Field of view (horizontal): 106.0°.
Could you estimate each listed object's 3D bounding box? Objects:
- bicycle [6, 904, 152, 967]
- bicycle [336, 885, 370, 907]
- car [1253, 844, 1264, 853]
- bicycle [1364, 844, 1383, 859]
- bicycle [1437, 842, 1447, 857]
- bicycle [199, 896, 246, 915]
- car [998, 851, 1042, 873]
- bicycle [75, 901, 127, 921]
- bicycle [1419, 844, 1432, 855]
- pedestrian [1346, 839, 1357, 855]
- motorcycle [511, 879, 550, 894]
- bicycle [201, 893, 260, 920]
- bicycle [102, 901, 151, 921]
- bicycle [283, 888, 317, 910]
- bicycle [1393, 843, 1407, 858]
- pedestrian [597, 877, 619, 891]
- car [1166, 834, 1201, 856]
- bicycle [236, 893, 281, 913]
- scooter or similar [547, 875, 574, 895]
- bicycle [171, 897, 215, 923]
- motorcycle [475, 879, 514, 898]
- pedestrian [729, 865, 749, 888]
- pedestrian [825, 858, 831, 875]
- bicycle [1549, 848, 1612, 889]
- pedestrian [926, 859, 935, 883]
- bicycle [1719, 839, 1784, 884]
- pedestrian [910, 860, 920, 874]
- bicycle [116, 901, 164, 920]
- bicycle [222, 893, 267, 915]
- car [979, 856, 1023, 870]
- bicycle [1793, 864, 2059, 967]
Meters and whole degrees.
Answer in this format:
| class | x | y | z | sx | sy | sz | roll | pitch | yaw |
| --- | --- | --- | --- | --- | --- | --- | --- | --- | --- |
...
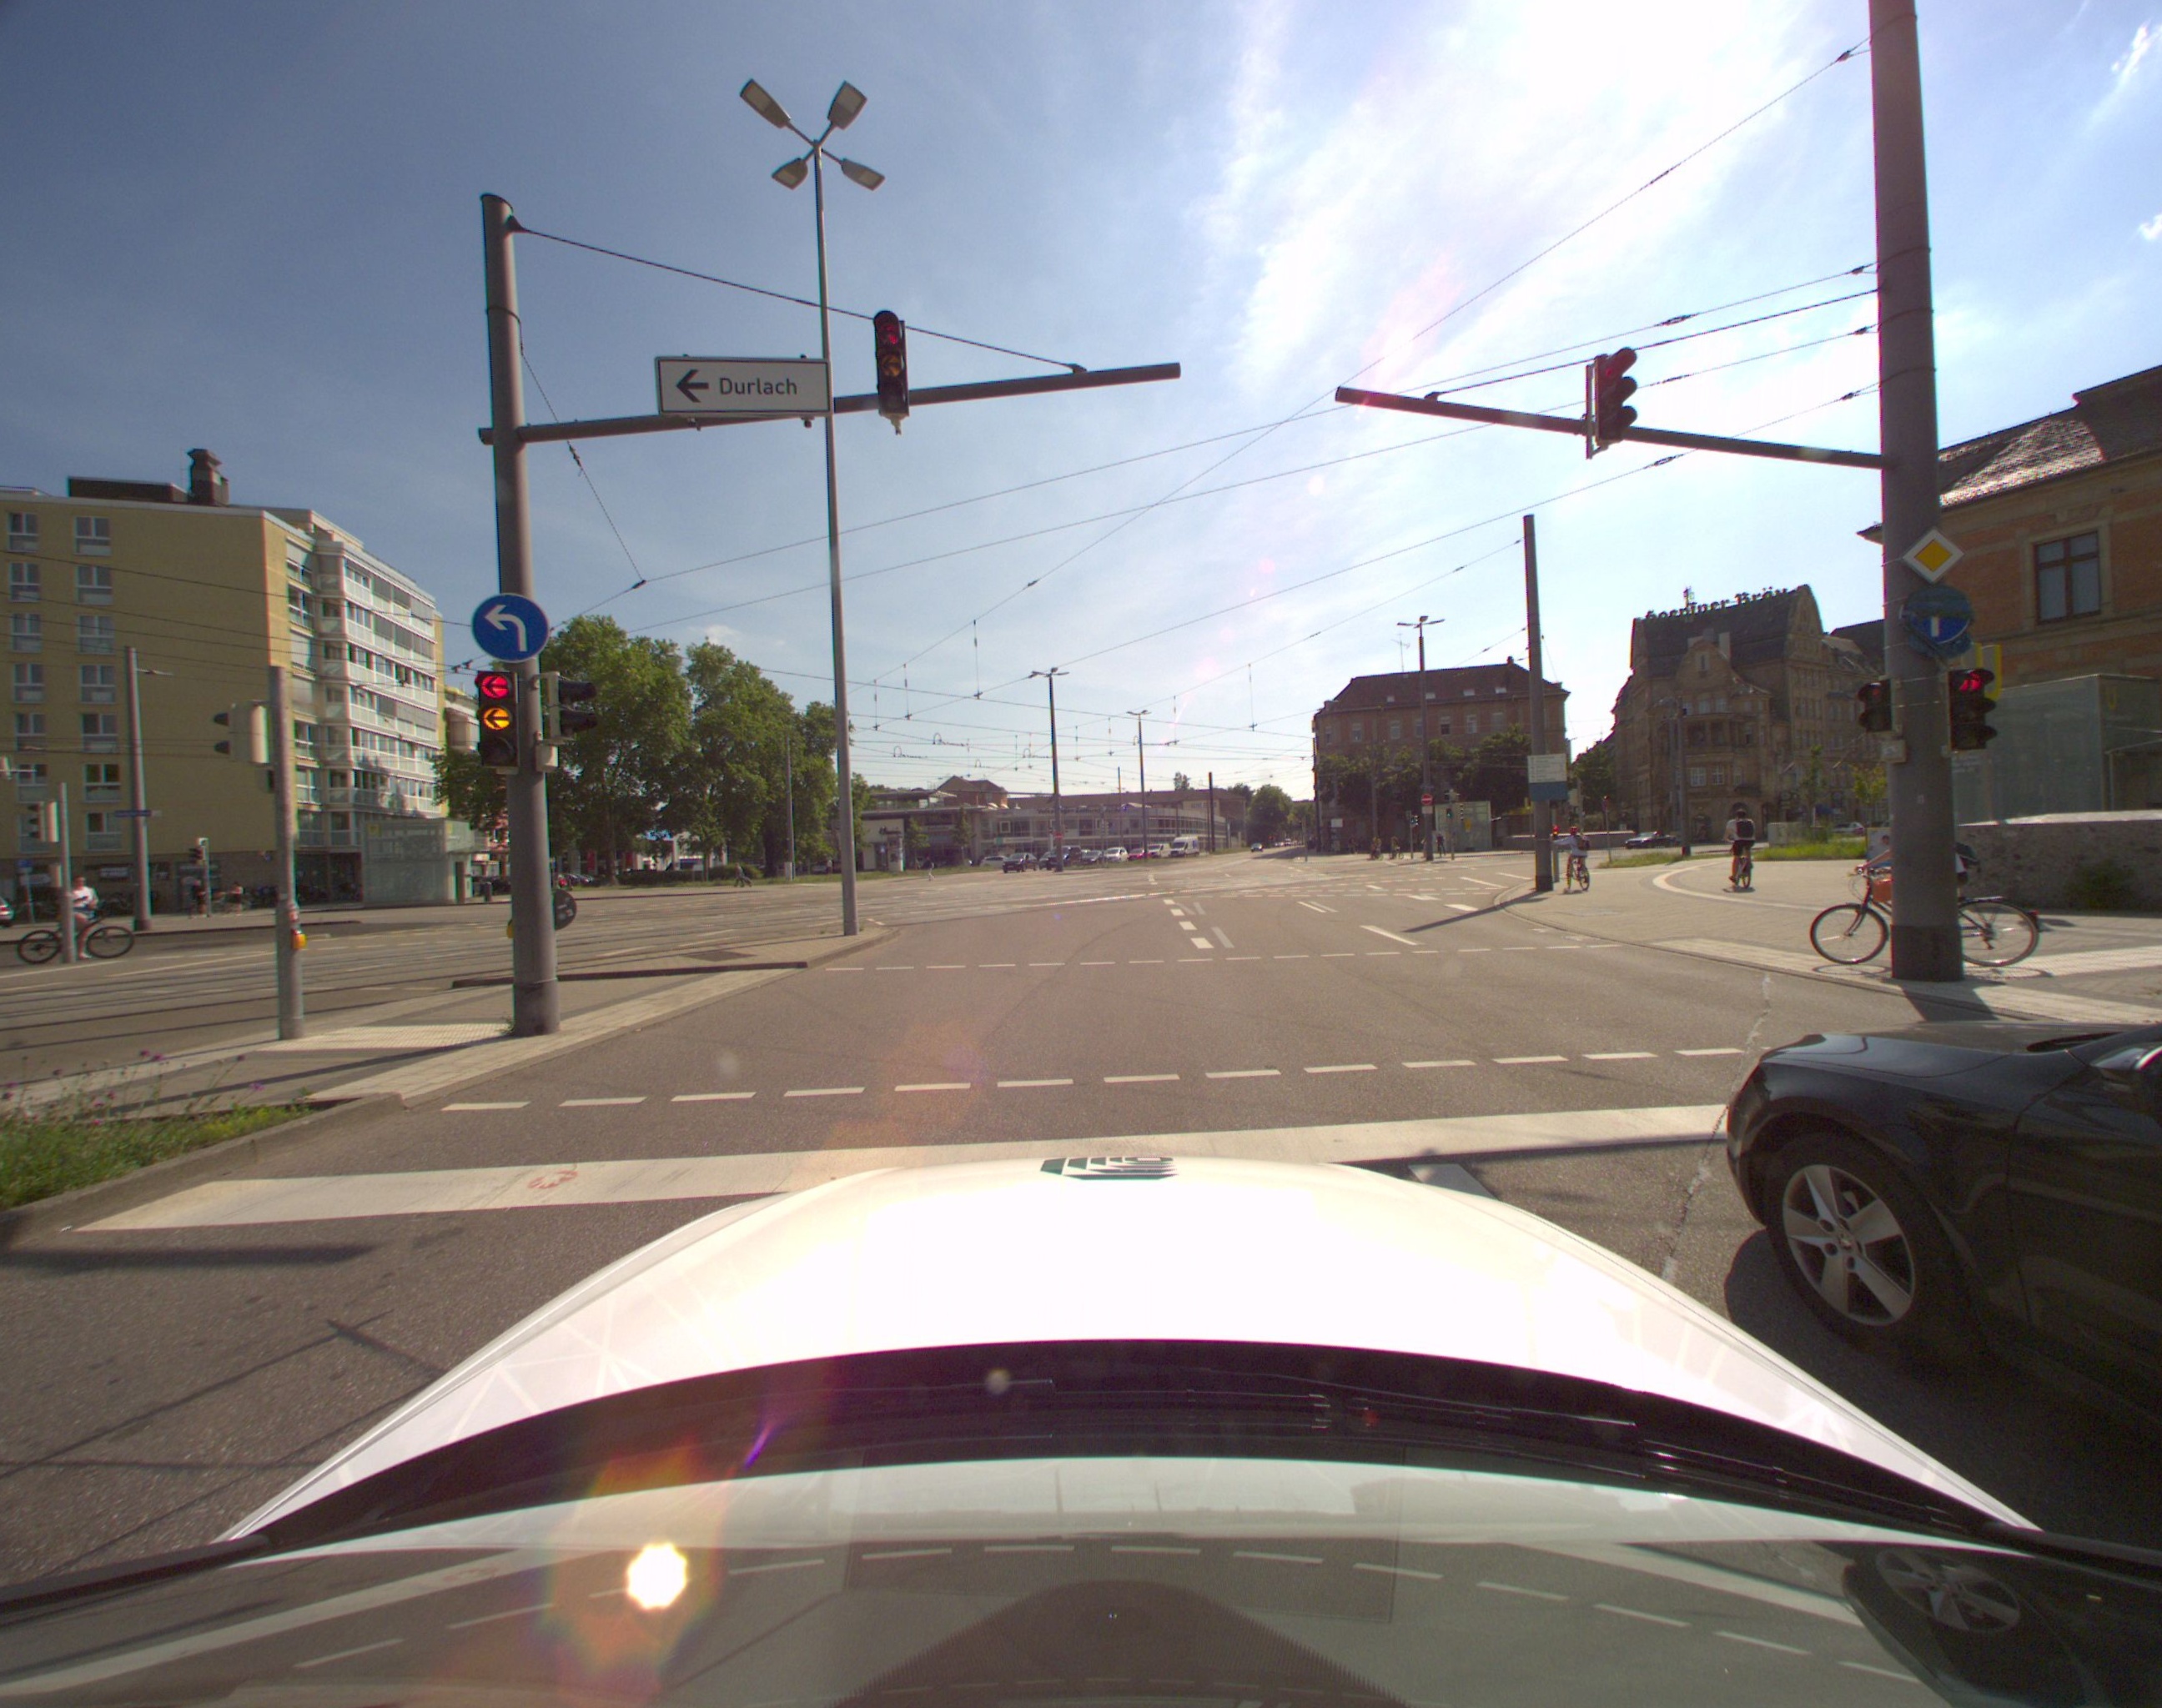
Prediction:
| class | x | y | z | sx | sy | sz | roll | pitch | yaw |
| --- | --- | --- | --- | --- | --- | --- | --- | --- | --- |
| bicycle | -20.921 | 1.684 | 17.044 | 1.843 | 1.083 | 0.749 | -4 | 0 | -9 |
| bicycle | -44.390 | 2.543 | 49.672 | 0.581 | 1.219 | 1.754 | -3 | 1 | -5 |
| car | 29.794 | -0.974 | 136.836 | 1.372 | 1.414 | 3.028 | -1 | -1 | 21 |
| bicycle | 22.092 | -0.187 | 61.590 | 0.920 | 1.069 | 2.755 | -1 | -1 | 12 |
| bicycle | 27.046 | -0.336 | 60.946 | 0.661 | 1.069 | 2.478 | -1 | 1 | 24 |
| bicycle | -48.418 | 2.907 | 45.927 | 1.751 | 0.965 | 0.582 | -3 | 1 | -11 |
| car | -4.738 | 0.654 | 64.317 | 1.876 | 1.588 | 4.230 | -3 | -1 | 19 |
| bicycle | -53.564 | 3.119 | 44.514 | 1.754 | 0.916 | 0.581 | -3 | 1 | -15 |
| bicycle | 25.887 | -0.342 | 61.275 | 0.497 | 0.866 | 1.590 | 0 | 0 | 7 |
| pedestrian | 24.349 | -0.628 | 73.221 | 0.616 | 1.433 | 0.705 | 0 | -1 | -36 |
| motorcycle | -36.867 | 2.177 | 54.556 | 0.632 | 0.842 | 2.051 | -2 | 0 | 35 |
| bicycle | -39.253 | 2.406 | 37.615 | 0.749 | 1.130 | 1.798 | -2 | 0 | 3 |
| bicycle | -52.067 | 3.108 | 44.442 | 1.750 | 0.916 | 0.582 | -3 | 1 | -8 |
| bicycle | -46.289 | 2.666 | 48.295 | 0.540 | 1.186 | 1.881 | -2 | 0 | -13 |
| bicycle | 24.030 | -0.288 | 61.322 | 0.918 | 1.069 | 2.856 | -1 | 1 | 21 |
| pedestrian | -33.165 | 2.125 | 57.093 | 1.175 | 0.892 | 0.818 | -2 | 0 | -18 |
| car | 12.576 | -1.021 | 99.510 | 2.188 | 2.575 | 5.910 | -1 | -1 | 28 |
| bicycle | -46.813 | 2.792 | 46.386 | 1.750 | 1.043 | 0.582 | -3 | 1 | -9 |
| scooter or similar | -32.099 | 1.908 | 50.204 | 1.351 | 1.119 | 0.519 | -2 | 0 | 11 |
| bicycle | -40.935 | 2.568 | 37.558 | 0.584 | 1.130 | 1.784 | -3 | -1 | -21 |
| motorcycle | -35.748 | 2.124 | 49.645 | 2.019 | 1.062 | 0.642 | -2 | 0 | 9 |
| pedestrian | -21.775 | 1.427 | 51.883 | 1.117 | 1.404 | 0.652 | 0 | -1 | -20 |
| pedestrian | -23.447 | 1.188 | 75.478 | 0.388 | 1.596 | 0.467 | -1 | -1 | 25 |
| bicycle | 13.580 | 0.383 | 22.220 | 0.710 | 1.015 | 2.026 | -5 | 0 | 10 |
| pedestrian | -9.951 | 1.138 | 53.884 | 0.456 | 1.605 | 0.396 | 0 | -1 | -34 |
| bicycle | 15.820 | 0.173 | 19.271 | 0.707 | 1.015 | 2.032 | -1 | -1 | 26 |
| pedestrian | -18.163 | 1.443 | 89.121 | 0.951 | 1.580 | 0.534 | 0 | -1 | -2 |
| bicycle | -51.989 | 3.112 | 45.005 | 1.750 | 0.916 | 0.582 | -3 | 1 | -8 |
| bicycle | -46.960 | 2.799 | 45.724 | 1.747 | 1.085 | 0.583 | -3 | 3 | -4 |
| car | -8.607 | 0.951 | 87.661 | 4.550 | 1.436 | 1.450 | -1 | -1 | 15 |
| bicycle | 9.291 | 0.697 | 9.085 | 1.894 | 1.015 | 0.721 | -5 | -1 | 35 |
